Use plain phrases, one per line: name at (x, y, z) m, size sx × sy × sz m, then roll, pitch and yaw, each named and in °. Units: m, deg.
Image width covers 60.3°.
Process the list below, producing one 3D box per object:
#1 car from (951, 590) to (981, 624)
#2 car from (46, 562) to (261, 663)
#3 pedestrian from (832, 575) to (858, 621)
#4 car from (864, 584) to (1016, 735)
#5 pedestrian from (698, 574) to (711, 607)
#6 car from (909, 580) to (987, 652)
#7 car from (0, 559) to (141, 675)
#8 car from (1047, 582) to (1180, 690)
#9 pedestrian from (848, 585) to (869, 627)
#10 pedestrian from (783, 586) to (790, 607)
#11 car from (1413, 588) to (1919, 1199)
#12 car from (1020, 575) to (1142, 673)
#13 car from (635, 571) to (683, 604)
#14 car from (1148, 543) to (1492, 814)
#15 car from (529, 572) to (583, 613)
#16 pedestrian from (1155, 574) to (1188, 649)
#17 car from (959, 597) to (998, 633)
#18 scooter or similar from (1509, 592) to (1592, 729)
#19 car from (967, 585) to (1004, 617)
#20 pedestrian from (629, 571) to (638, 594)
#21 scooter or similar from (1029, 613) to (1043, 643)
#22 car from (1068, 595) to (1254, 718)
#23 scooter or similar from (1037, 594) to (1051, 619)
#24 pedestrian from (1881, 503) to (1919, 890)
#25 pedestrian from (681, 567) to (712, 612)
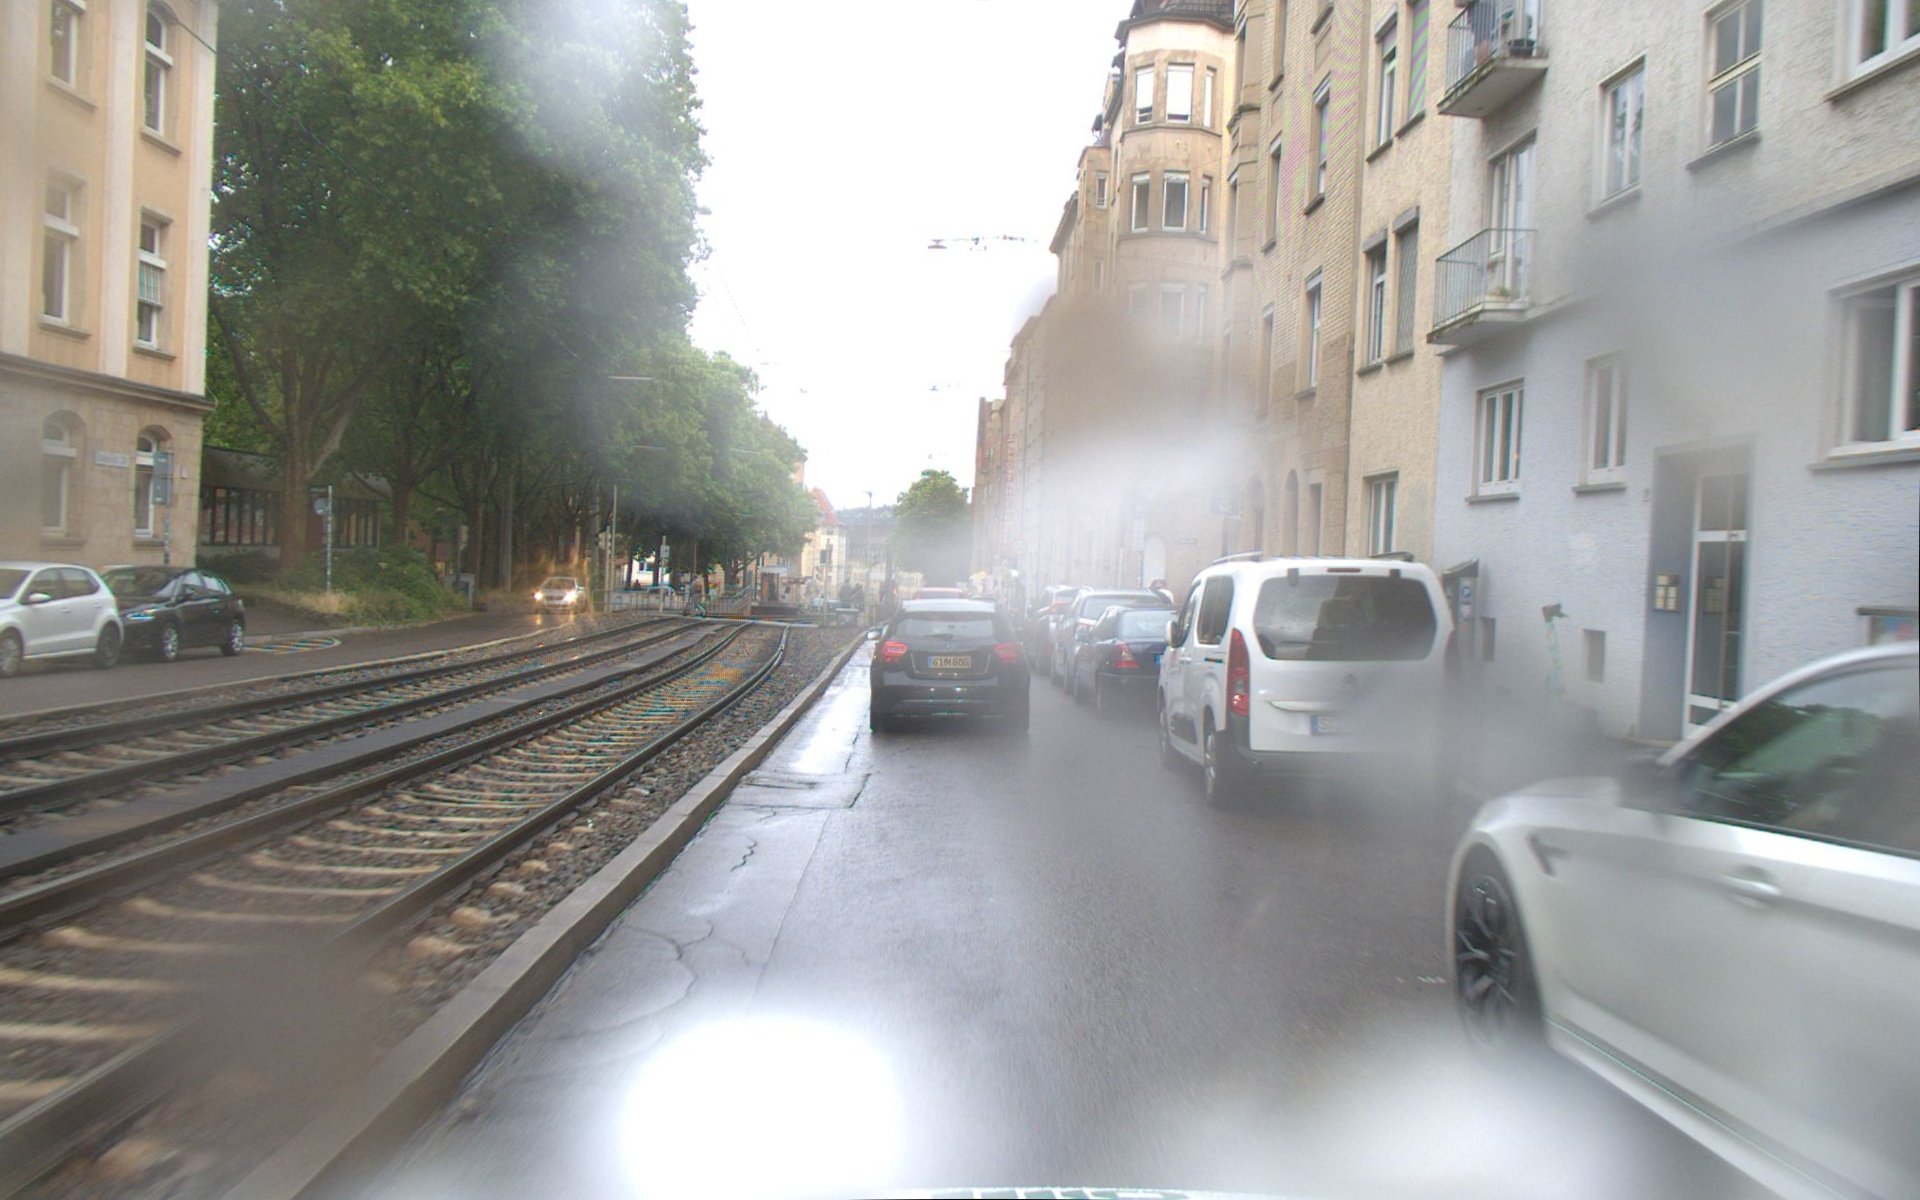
car at (0.365, 0.408, 100.587) m, size 1.724 × 2.049 × 3.999 m, roll 0°, pitch 1°, yaw -2°
car at (-12.572, 0.157, 26.043) m, size 1.582 × 1.454 × 3.851 m, roll 1°, pitch 1°, yaw -2°
pedestrian at (-5.164, -0.104, 74.201) m, size 1.115 × 2.033 × 1.171 m, roll 0°, pitch 0°, yaw -5°
car at (-0.259, 0.613, 19.005) m, size 1.548 × 1.531 × 3.573 m, roll 1°, pitch 0°, yaw -2°
pedestrian at (-14.083, -0.539, 91.051) m, size 0.523 × 1.784 × 0.607 m, roll 3°, pitch 0°, yaw -1°
car at (-0.318, 0.363, 40.098) m, size 1.749 × 1.609 × 3.999 m, roll 1°, pitch 0°, yaw -1°
car at (-12.475, 0.204, 21.718) m, size 1.469 × 1.415 × 3.987 m, roll 0°, pitch 0°, yaw 0°
car at (2.385, 0.532, 26.544) m, size 1.659 × 1.556 × 3.999 m, roll 2°, pitch 0°, yaw -1°
pedestrian at (-3.996, 0.226, 65.379) m, size 0.789 × 1.662 × 0.892 m, roll 0°, pitch 0°, yaw -1°
pedestrian at (-14.785, -0.277, 141.047) m, size 0.508 × 1.747 × 0.551 m, roll 3°, pitch 0°, yaw -1°
car at (2.729, 0.739, 3.786) m, size 1.834 × 1.481 × 4.900 m, roll 1°, pitch 0°, yaw -3°
car at (2.253, 0.425, 31.977) m, size 1.731 × 1.697 × 4.329 m, roll 2°, pitch 0°, yaw -4°
car at (-17.226, -0.698, 94.899) m, size 1.953 × 1.769 × 4.000 m, roll 2°, pitch 0°, yaw 0°
car at (2.679, 0.518, 13.385) m, size 1.791 × 1.781 × 4.467 m, roll 1°, pitch 0°, yaw 0°
car at (-15.983, -0.312, 65.573) m, size 1.784 × 1.531 × 4.622 m, roll 2°, pitch 0°, yaw -10°
pedestrian at (5.236, 0.274, 40.912) m, size 0.680 × 1.818 × 0.758 m, roll -1°, pitch 0°, yaw -3°
car at (0.893, 0.703, 80.738) m, size 1.790 × 1.646 × 3.863 m, roll 0°, pitch 1°, yaw -1°
scooter or similar at (5.885, 0.579, 16.513) m, size 0.379 × 1.320 × 1.171 m, roll 1°, pitch 0°, yaw -1°
car at (1.296, 0.053, 85.466) m, size 1.724 × 1.606 × 3.999 m, roll 0°, pitch 1°, yaw -2°
pedestrian at (-25.198, -1.364, 127.607) m, size 0.542 × 1.775 × 0.606 m, roll 1°, pitch -1°, yaw -2°
scooter or similar at (3.495, 1.267, 76.474) m, size 0.439 × 1.344 × 1.776 m, roll 0°, pitch 0°, yaw -4°
car at (2.481, 0.651, 21.416) m, size 1.683 × 1.370 × 4.460 m, roll 2°, pitch 0°, yaw -2°
scooter or similar at (4.634, 0.355, 91.345) m, size 0.440 × 1.344 × 1.774 m, roll 0°, pitch 0°, yaw -8°
pedestrian at (4.983, 0.464, 7.746) m, size 0.730 × 1.866 × 1.039 m, roll -1°, pitch 0°, yaw 0°
pedestrian at (-10.523, -0.413, 66.047) m, size 1.033 × 1.748 × 0.904 m, roll 2°, pitch 0°, yaw 0°
